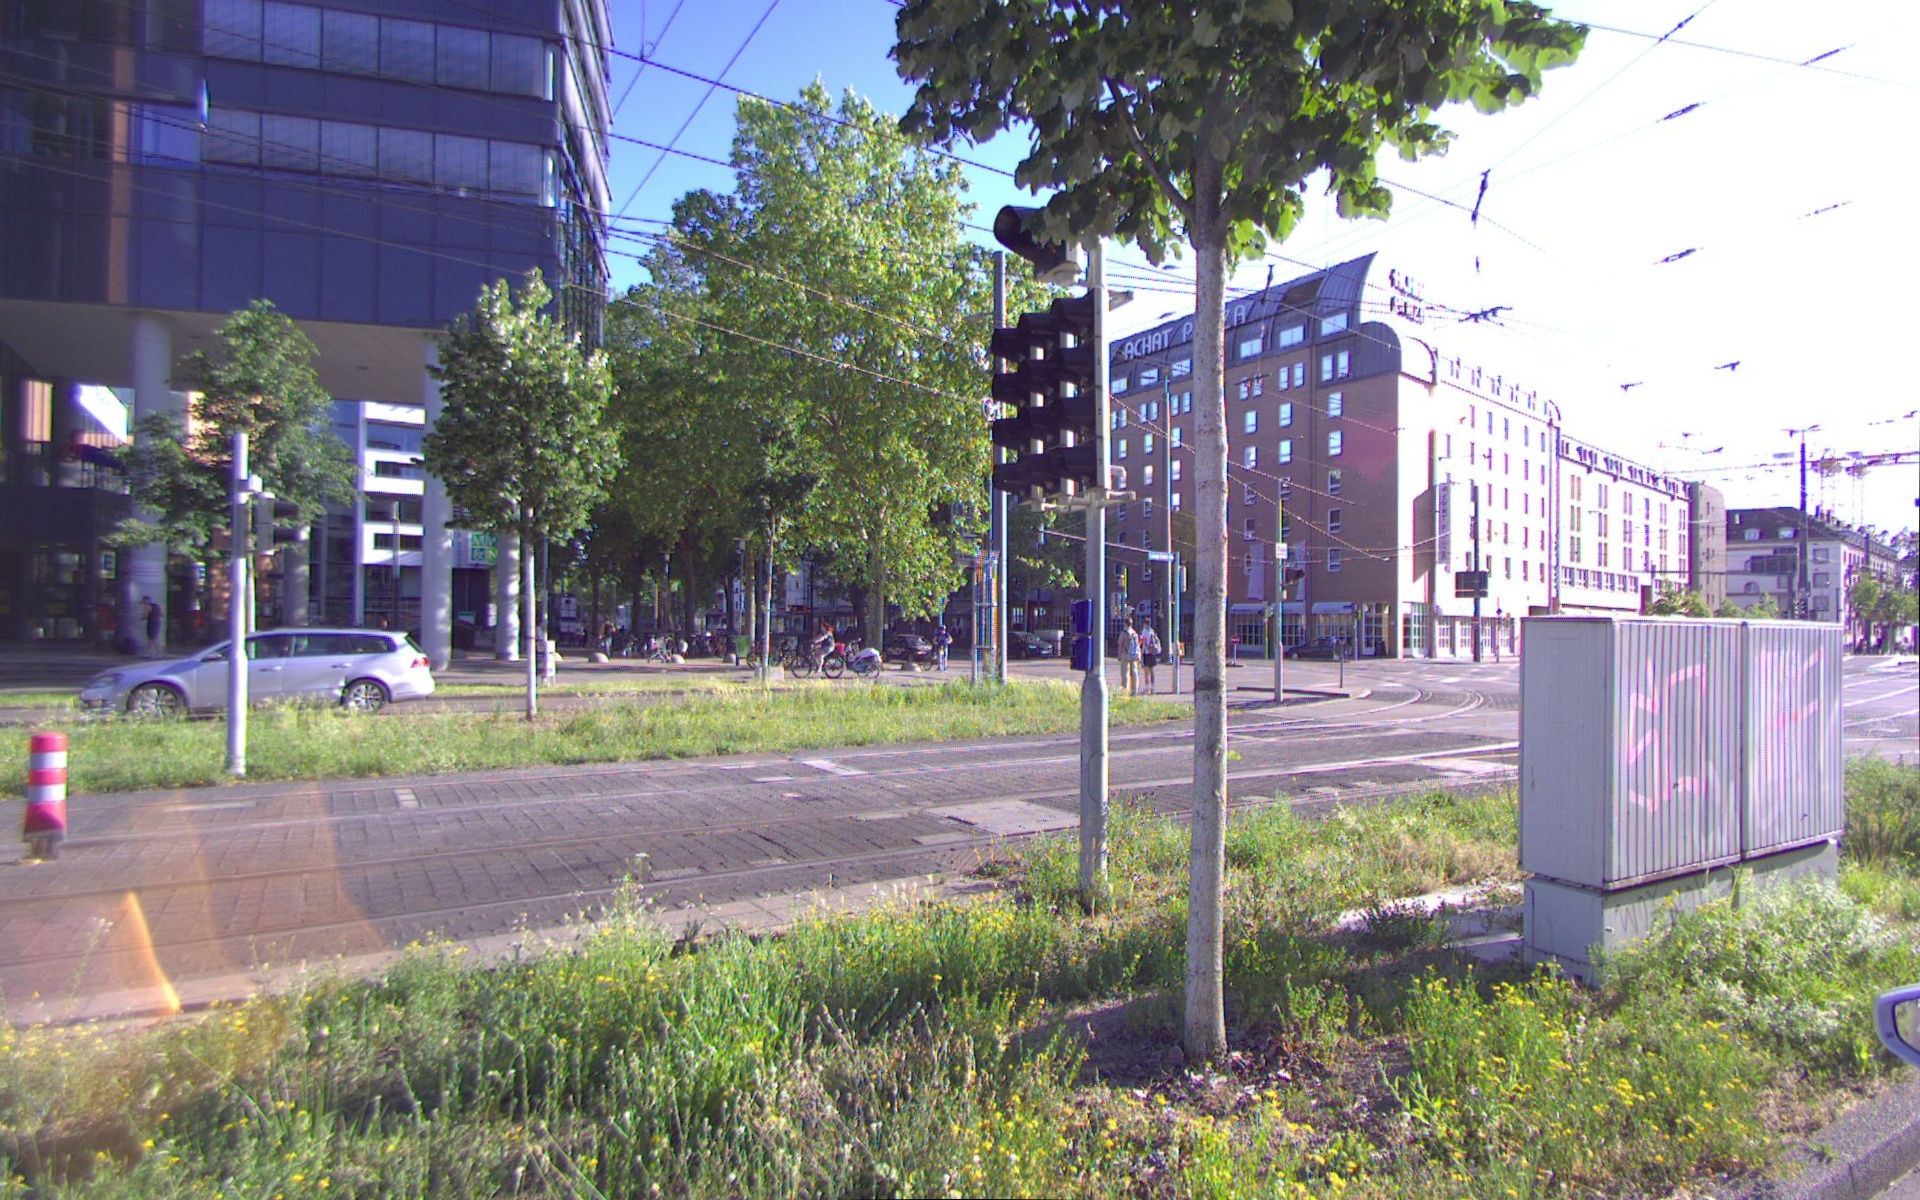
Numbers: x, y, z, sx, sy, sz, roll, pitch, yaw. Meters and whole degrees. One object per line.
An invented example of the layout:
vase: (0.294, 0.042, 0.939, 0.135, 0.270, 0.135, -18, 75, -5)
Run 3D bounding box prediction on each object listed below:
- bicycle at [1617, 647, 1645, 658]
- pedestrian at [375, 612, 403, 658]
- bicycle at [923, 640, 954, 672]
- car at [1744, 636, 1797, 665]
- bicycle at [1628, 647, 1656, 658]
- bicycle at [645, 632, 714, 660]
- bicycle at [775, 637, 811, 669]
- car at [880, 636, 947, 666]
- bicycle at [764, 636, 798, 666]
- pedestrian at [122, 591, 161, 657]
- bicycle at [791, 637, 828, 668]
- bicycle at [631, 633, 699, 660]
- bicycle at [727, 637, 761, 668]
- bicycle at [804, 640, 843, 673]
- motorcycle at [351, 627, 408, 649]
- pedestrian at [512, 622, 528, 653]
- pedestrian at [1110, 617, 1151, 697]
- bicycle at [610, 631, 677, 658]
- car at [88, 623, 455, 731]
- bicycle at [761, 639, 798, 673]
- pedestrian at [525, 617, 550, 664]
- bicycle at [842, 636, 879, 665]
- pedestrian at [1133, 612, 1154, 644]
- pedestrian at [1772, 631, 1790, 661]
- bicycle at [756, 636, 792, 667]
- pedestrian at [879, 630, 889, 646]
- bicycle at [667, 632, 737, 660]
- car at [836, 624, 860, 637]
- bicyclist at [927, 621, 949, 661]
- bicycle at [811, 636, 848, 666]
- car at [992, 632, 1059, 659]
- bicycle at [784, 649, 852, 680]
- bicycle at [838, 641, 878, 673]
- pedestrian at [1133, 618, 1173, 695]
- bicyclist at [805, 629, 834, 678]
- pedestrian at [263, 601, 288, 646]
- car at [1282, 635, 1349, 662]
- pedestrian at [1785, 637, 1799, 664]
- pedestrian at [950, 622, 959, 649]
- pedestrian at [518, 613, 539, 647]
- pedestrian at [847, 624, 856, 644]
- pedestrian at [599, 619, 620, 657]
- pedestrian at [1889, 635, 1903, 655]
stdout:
bicycle: (58.449, 4.578, 87.528, 0.477, 0.933, 2.024, 1, -2, -30)
pedestrian: (-20.640, 1.277, 36.298, 0.722, 1.644, 0.696, 1, -1, -18)
bicycle: (-0.836, 2.104, 38.175, 0.683, 1.152, 1.844, 1, -2, -17)
car: (53.521, 3.341, 66.338, 4.071, 1.859, 1.825, 2, -4, -38)
bicycle: (59.639, 4.586, 87.809, 0.477, 0.933, 2.024, 1, -2, -30)
bicycle: (-14.296, 2.344, 51.273, 1.021, 1.371, 3.342, -1, -2, 44)
bicycle: (-6.470, 2.030, 38.838, 0.592, 1.143, 2.348, 0, -1, -30)
car: (-2.322, 2.465, 49.250, 1.652, 1.425, 3.968, 2, -3, -30)
bicycle: (-7.342, 2.077, 41.122, 0.592, 1.143, 2.348, 0, -1, -30)
pedestrian: (-22.049, 0.651, 27.071, 0.691, 1.727, 0.728, 1, -2, -31)
bicycle: (-5.872, 2.043, 39.121, 0.592, 1.143, 2.348, 0, -1, -30)
bicycle: (-15.350, 2.397, 52.340, 1.021, 1.371, 3.342, -1, -2, 44)
bicycle: (-8.318, 2.003, 38.593, 0.592, 1.143, 2.348, 0, -1, -30)
bicycle: (-4.955, 2.030, 36.419, 0.592, 1.143, 2.349, 0, -1, -29)
motorcycle: (-28.651, 1.879, 49.579, 2.309, 1.072, 0.828, 1, -1, -22)
pedestrian: (-24.632, 2.090, 56.271, 0.691, 1.737, 0.727, 1, -1, -33)
pedestrian: (4.150, 1.379, 24.446, 0.691, 1.894, 0.728, 1, -2, -31)
bicycle: (-16.709, 2.337, 53.123, 1.021, 1.371, 3.342, -1, -2, 44)
car: (-11.092, 1.177, 16.527, 4.758, 1.548, 1.610, 2, -2, -37)
bicycle: (-6.500, 2.006, 36.077, 0.592, 1.143, 2.349, 0, -1, -29)
pedestrian: (-15.615, 1.492, 37.123, 0.819, 1.702, 0.712, -1, -1, -23)
bicycle: (-4.052, 2.034, 40.704, 0.592, 1.143, 2.348, 0, -1, -30)
pedestrian: (10.033, 1.517, 54.864, 0.821, 1.702, 0.711, 0, -1, -30)
pedestrian: (47.392, 2.660, 58.000, 0.589, 1.750, 0.715, 2, -2, -39)
bicycle: (-7.264, 2.002, 39.165, 0.592, 1.143, 2.348, 0, -1, -30)
pedestrian: (-5.684, 2.861, 75.062, 0.583, 1.179, 0.742, 1, -1, -17)
bicycle: (-12.798, 2.276, 49.949, 1.021, 1.371, 3.342, -1, -2, 44)
car: (-14.542, 3.918, 130.303, 1.658, 1.674, 3.659, 2, -2, -31)
bicyclist: (-0.841, 1.561, 38.227, 0.683, 1.480, 0.751, 1, -1, -17)
bicycle: (-5.236, 2.034, 40.244, 0.592, 1.143, 2.348, 0, -1, -30)
car: (3.549, 2.471, 55.130, 1.653, 1.433, 3.965, 2, -3, -32)
bicycle: (-4.537, 2.048, 32.119, 2.043, 0.962, 0.686, 2, -1, -31)
bicycle: (-3.814, 2.099, 37.372, 0.592, 1.143, 2.349, 0, -1, -29)
pedestrian: (4.819, 1.403, 25.091, 0.666, 1.894, 0.727, 1, -2, -33)
bicyclist: (-4.488, 1.703, 32.144, 0.695, 1.550, 0.686, 1, -1, -31)
pedestrian: (-26.196, 0.907, 38.436, 0.691, 1.727, 0.728, 1, -2, -31)
car: (22.508, 3.044, 63.666, 3.792, 1.622, 1.612, 0, -2, 30)
pedestrian: (49.274, 2.980, 59.483, 0.573, 1.598, 0.644, 0, -2, 36)
pedestrian: (-0.371, 2.513, 71.121, 0.581, 1.853, 0.745, 1, -1, -1)
pedestrian: (-21.225, 1.469, 49.440, 0.685, 1.644, 0.734, 1, -1, 1)
pedestrian: (-9.004, 2.820, 83.178, 0.557, 1.594, 0.636, 2, 0, -20)
pedestrian: (-15.463, 1.663, 44.299, 0.691, 1.674, 0.700, 2, -1, -32)
pedestrian: (82.307, 3.943, 88.357, 0.850, 1.692, 0.781, 0, 0, 39)
